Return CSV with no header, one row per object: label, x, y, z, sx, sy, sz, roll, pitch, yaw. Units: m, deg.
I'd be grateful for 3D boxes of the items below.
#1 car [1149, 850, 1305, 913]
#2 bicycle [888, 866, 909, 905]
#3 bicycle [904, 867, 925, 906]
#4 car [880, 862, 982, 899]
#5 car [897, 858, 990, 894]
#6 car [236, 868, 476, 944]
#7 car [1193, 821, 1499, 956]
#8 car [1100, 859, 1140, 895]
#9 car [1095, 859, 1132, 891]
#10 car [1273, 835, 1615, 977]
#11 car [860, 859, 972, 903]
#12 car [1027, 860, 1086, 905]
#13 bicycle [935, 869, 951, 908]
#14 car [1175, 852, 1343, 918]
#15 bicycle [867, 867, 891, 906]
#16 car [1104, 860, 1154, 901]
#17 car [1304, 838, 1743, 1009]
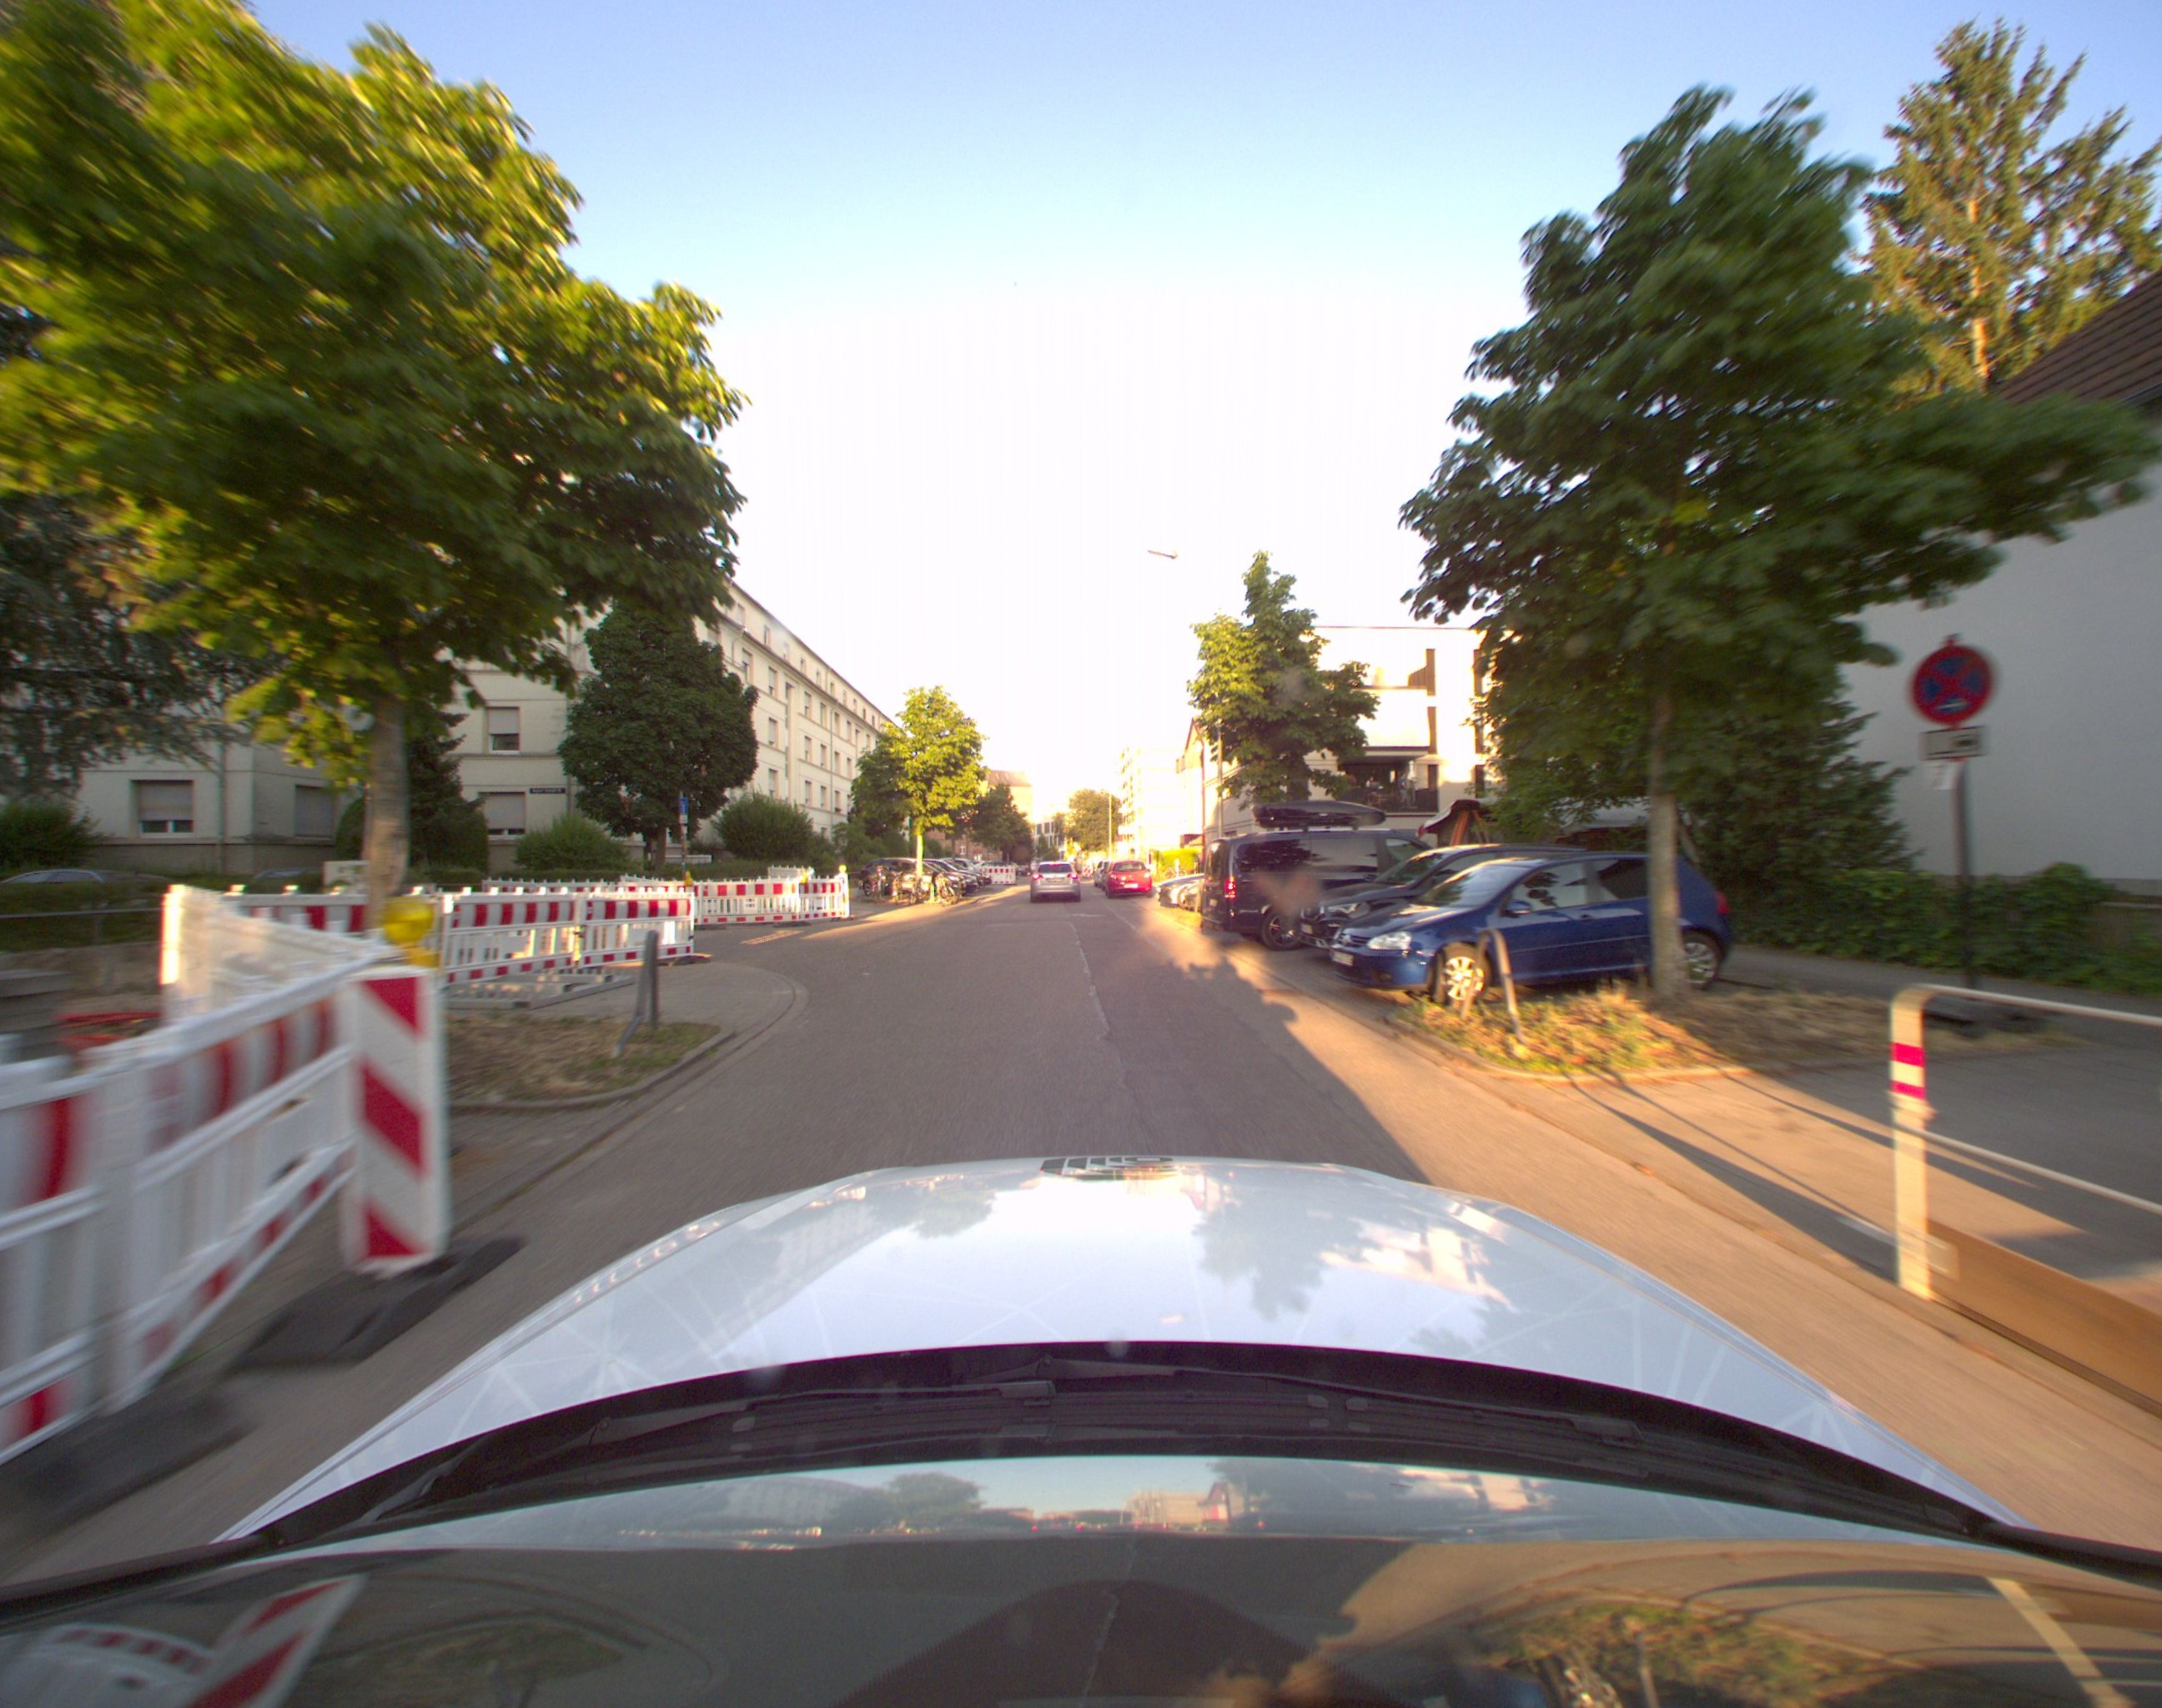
car,4.237,0.779,23.934,4.145,1.572,1.793,-3,0,-7
bicycle,-6.037,1.029,27.014,0.405,1.227,1.984,0,0,-4
bicycle,-5.503,1.053,27.007,0.405,1.227,1.984,0,0,-4
car,-6.214,1.071,34.164,3.979,1.480,1.997,0,0,-4
car,-6.156,0.973,36.827,3.979,1.605,1.870,0,0,-4
car,-16.296,1.128,18.478,3.701,1.590,1.759,0,0,-6
car,4.408,0.544,14.061,4.548,2.023,2.098,-1,0,-5
car,1.753,1.023,37.494,1.658,1.573,3.440,0,0,0
car,1.639,1.052,42.172,1.803,1.613,3.580,0,0,0
car,4.982,0.663,11.578,3.979,1.768,1.997,-1,0,-4
car,-6.323,1.007,31.603,3.979,1.625,1.997,0,0,-4
car,-0.959,0.984,29.318,1.805,1.488,3.991,-1,-1,-6
bicycle,-4.575,1.128,27.028,0.405,1.227,1.982,0,0,-7
car,4.617,0.773,21.490,3.935,1.649,1.972,0,0,-7
bicycle,-6.691,1.050,27.036,0.405,1.227,1.984,0,0,-4
car,1.817,0.981,31.880,1.725,1.483,3.556,0,0,0
car,4.695,0.670,8.958,3.983,1.651,1.761,0,0,-7
